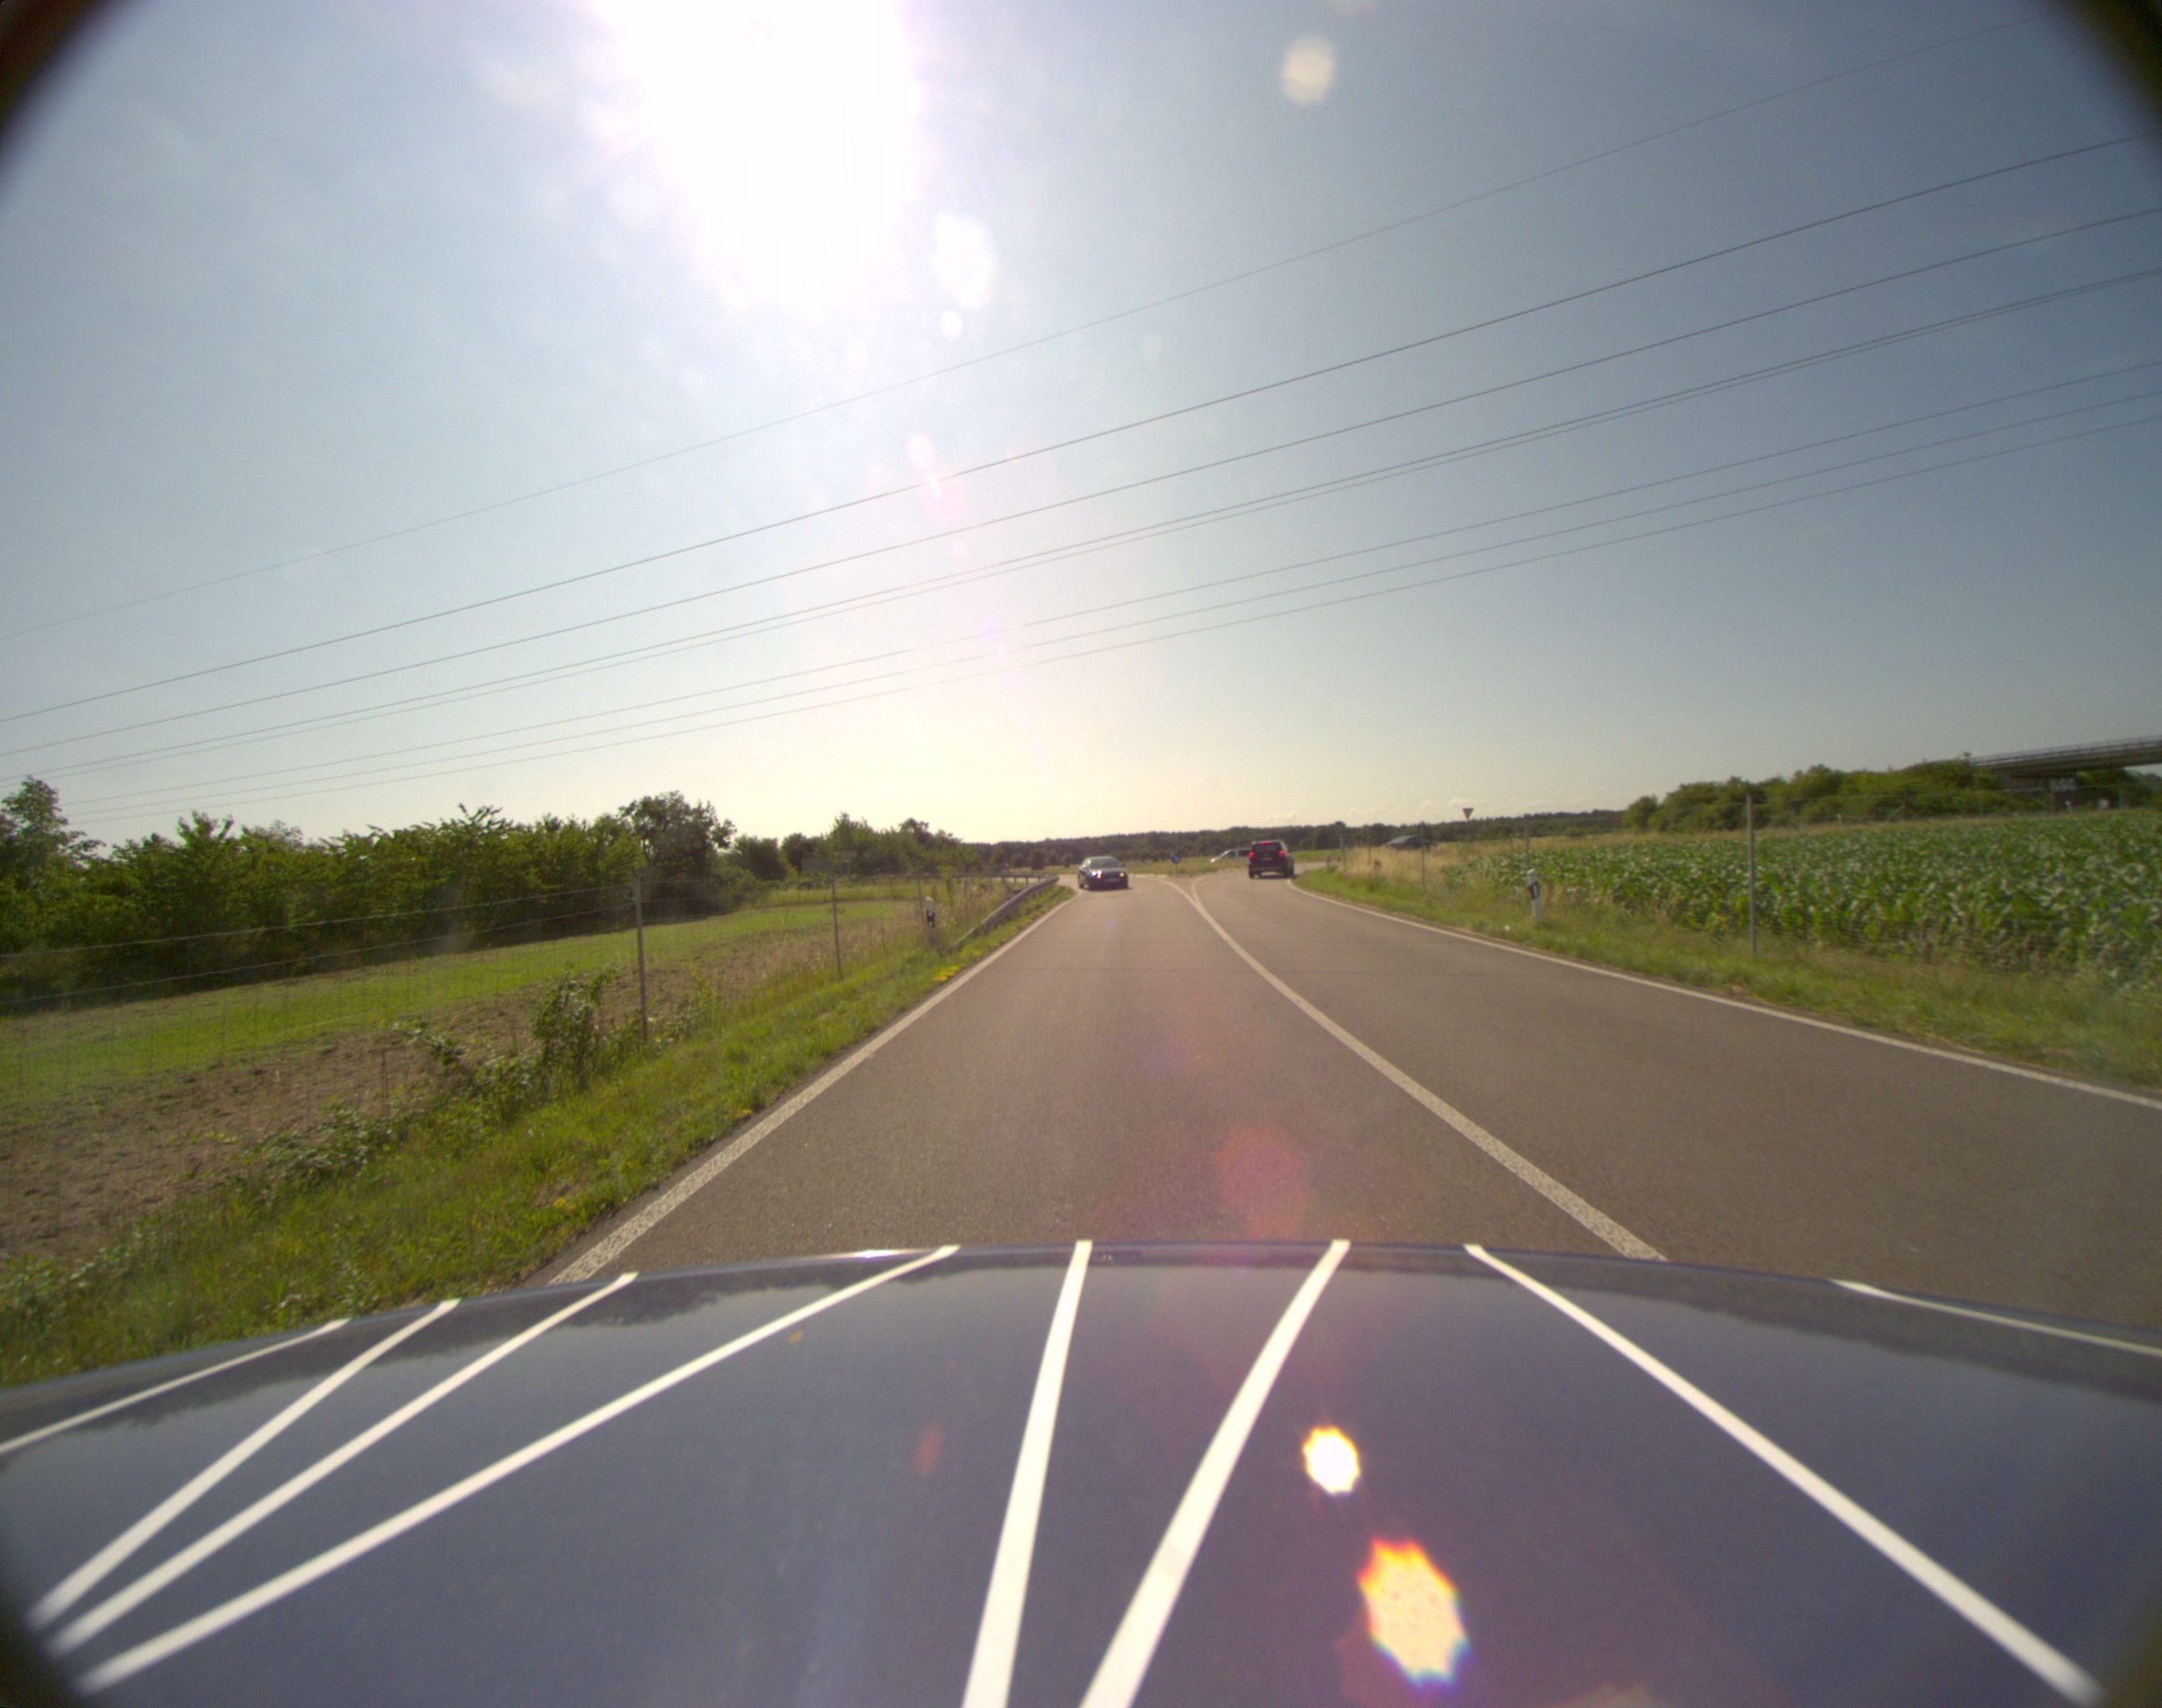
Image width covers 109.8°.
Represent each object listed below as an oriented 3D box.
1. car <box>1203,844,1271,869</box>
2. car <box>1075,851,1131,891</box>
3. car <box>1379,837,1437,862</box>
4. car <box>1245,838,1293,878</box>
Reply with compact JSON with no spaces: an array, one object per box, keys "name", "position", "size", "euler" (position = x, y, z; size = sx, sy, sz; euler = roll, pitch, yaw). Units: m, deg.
[{"name":"car","position":[13.091,0.195,64.132],"size":[5.347,1.630,2.103],"euler":[-4,0,6]},{"name":"car","position":[0.920,0.729,34.214],"size":[1.887,1.448,4.071],"euler":[-4,2,-6]},{"name":"car","position":[21.797,-0.321,50.564],"size":[4.600,1.448,1.776],"euler":[-3,1,-42]},{"name":"car","position":[8.742,0.142,35.659],"size":[1.987,1.697,4.264],"euler":[-2,1,12]}]
